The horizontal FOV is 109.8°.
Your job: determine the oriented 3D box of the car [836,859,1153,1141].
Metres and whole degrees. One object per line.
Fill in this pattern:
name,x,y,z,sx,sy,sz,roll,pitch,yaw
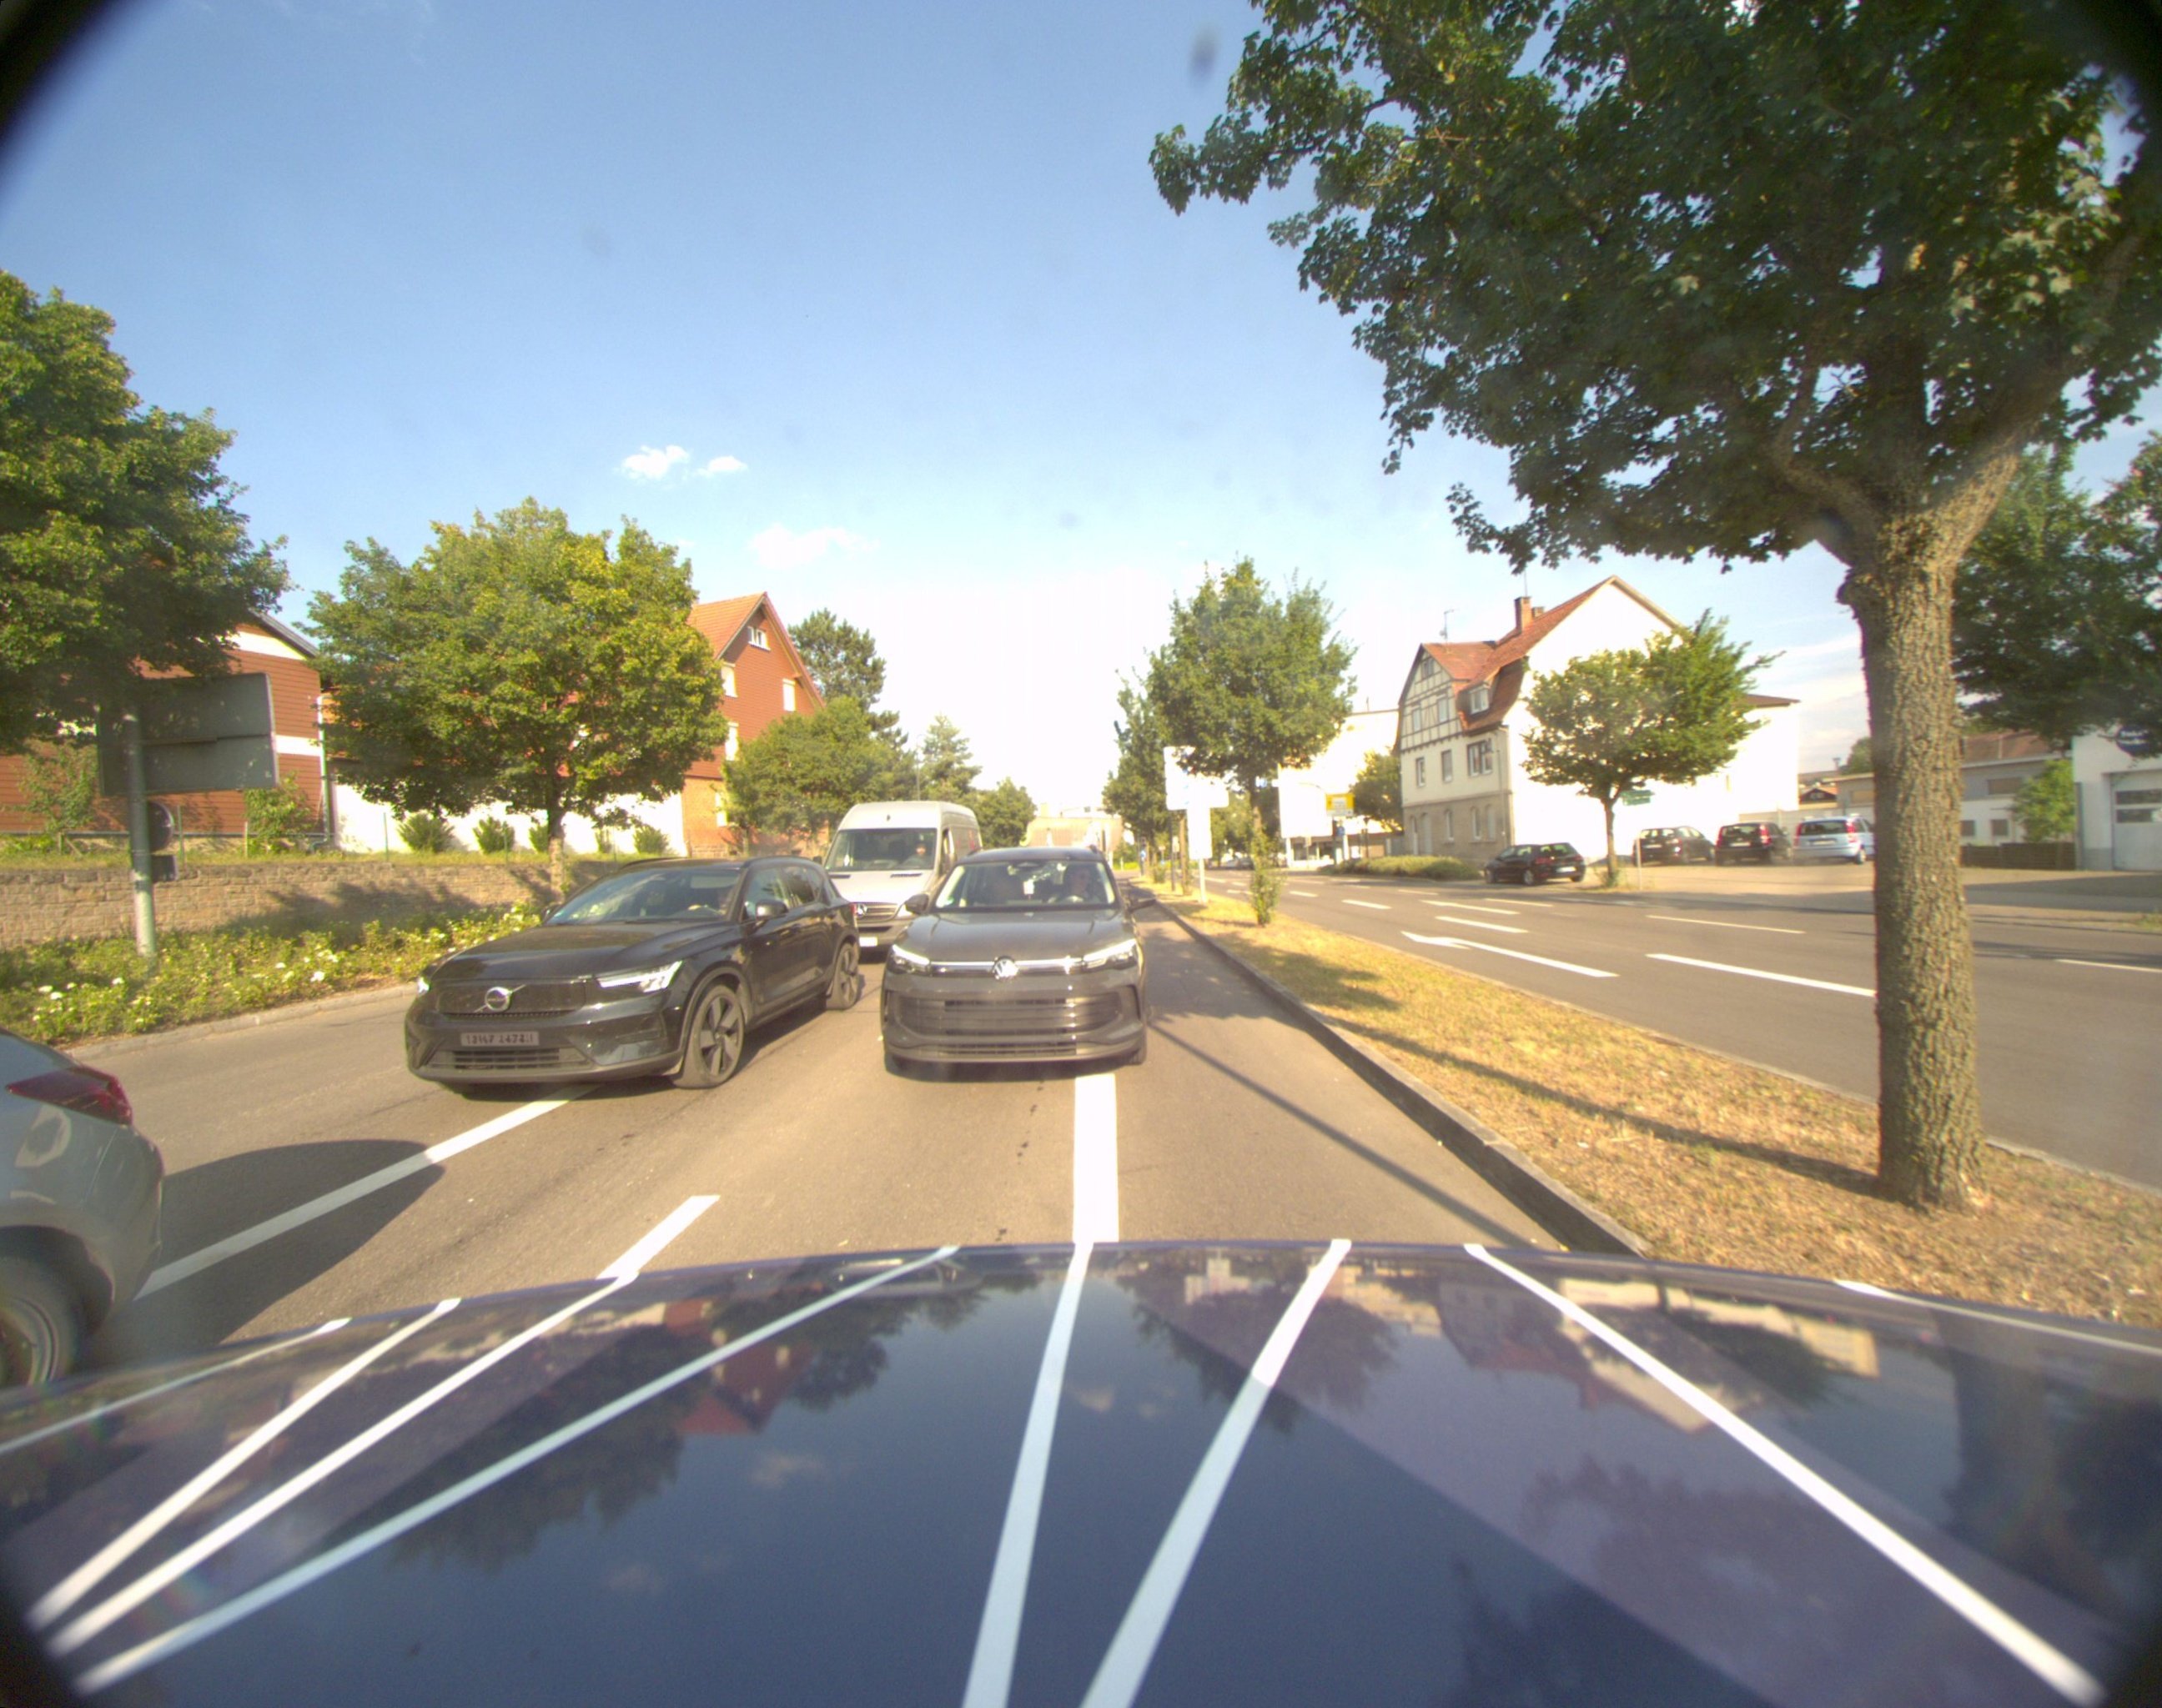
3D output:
car,-0.452,0.875,6.621,1.845,1.600,4.318,-1,0,2

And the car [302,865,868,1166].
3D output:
car,-3.399,0.949,6.433,1.845,1.600,4.318,-1,0,2

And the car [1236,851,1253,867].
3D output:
car,18.408,0.571,85.438,1.780,1.683,4.003,-2,0,12

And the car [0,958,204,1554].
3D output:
car,-3.613,1.063,0.185,1.766,1.445,4.318,-1,0,0

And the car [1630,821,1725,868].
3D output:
car,23.377,-0.390,29.758,3.830,1.493,1.816,-5,0,-35

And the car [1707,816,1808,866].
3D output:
car,24.656,-0.487,27.661,3.830,1.493,1.816,-5,0,-35

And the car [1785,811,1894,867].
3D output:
car,24.878,-0.501,24.895,3.830,1.493,1.816,-5,0,-35

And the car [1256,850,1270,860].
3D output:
car,31.656,0.172,131.928,1.779,1.683,4.005,-2,0,20

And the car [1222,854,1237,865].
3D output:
car,21.307,0.814,109.035,1.779,1.460,4.379,-2,0,15

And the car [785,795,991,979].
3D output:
car,-3.072,0.454,13.705,1.992,2.554,6.046,-1,0,2

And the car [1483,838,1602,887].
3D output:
car,16.032,0.282,26.623,1.818,1.442,3.825,-5,0,1
